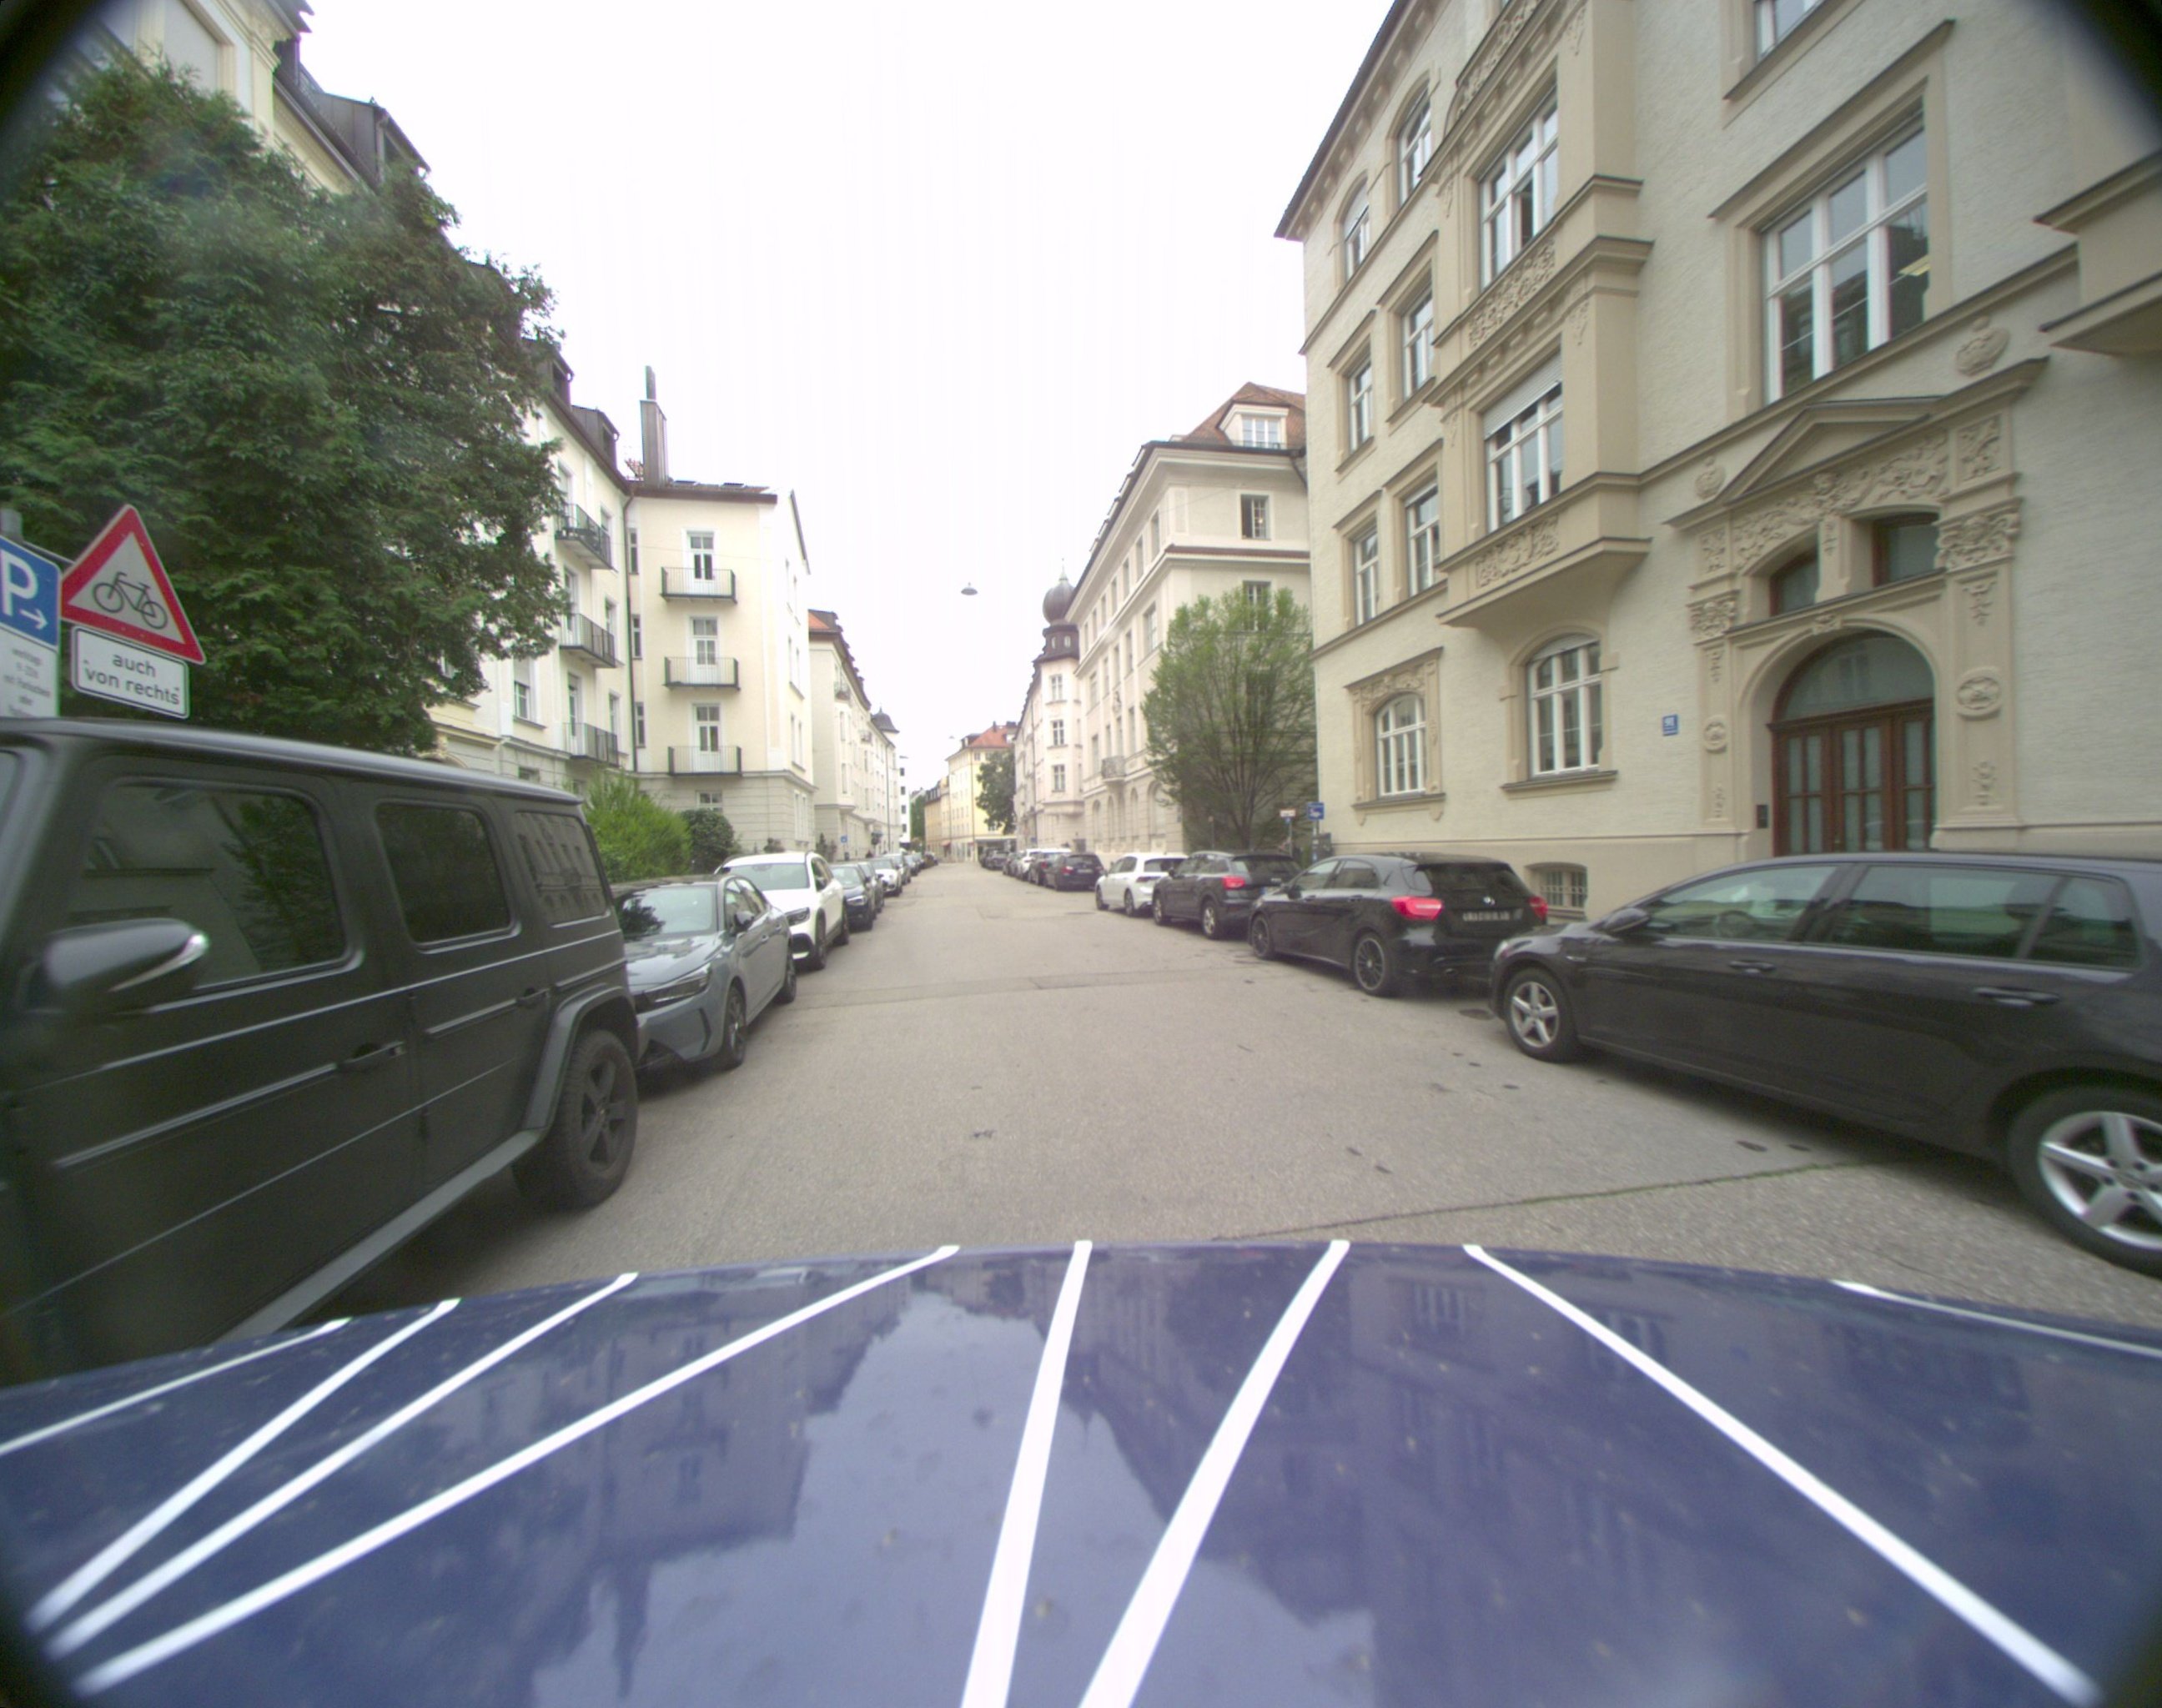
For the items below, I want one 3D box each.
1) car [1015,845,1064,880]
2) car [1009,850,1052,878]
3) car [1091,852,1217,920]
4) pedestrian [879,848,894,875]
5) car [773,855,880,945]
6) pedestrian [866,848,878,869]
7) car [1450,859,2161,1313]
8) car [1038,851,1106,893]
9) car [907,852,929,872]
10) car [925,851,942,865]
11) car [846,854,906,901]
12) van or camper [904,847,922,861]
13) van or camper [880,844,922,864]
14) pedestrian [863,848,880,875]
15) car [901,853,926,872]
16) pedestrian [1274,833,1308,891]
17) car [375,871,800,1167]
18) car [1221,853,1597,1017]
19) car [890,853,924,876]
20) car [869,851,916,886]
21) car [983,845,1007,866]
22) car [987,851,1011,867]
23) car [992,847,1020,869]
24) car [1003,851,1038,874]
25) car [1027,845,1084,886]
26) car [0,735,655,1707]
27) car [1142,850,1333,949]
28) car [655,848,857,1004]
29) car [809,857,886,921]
[{"bbox_3d":[-2.191,0.422,38.792,1.921,1.609,4.567,-2,0,-10],"label":"car"},{"bbox_3d":[-2.985,0.542,43.886,1.789,1.532,4.252,0,0,-14],"label":"car"},{"bbox_3d":[1.595,0.680,18.264,1.843,1.425,4.240,0,0,-12],"label":"car"},{"bbox_3d":[-13.505,0.507,52.907,0.886,1.776,1.110,-3,1,-12],"label":"pedestrian"},{"bbox_3d":[-5.402,0.881,16.609,1.756,1.601,4.418,-4,1,-14],"label":"car"},{"bbox_3d":[-18.105,0.407,65.840,0.886,1.803,1.110,-2,1,-9],"label":"pedestrian"},{"bbox_3d":[4.126,0.765,3.916,1.843,1.427,4.240,1,0,-10],"label":"car"},{"bbox_3d":[-0.432,0.637,29.019,1.793,1.404,4.363,-2,0,-11],"label":"car"},{"bbox_3d":[-15.476,0.756,72.403,1.806,1.665,4.185,-5,1,-11],"label":"car"},{"bbox_3d":[-18.735,0.536,96.871,1.842,1.609,4.091,-4,1,-8],"label":"car"},{"bbox_3d":[-7.578,0.820,28.405,1.790,1.496,4.061,-3,1,-10],"label":"car"},{"bbox_3d":[-30.803,0.072,139.044,1.970,2.494,5.712,-2,0,-24],"label":"van or camper"},{"bbox_3d":[-26.468,-0.040,111.741,5.874,2.697,2.302,-2,-2,-17],"label":"van or camper"},{"bbox_3d":[-14.549,0.535,52.735,0.886,1.801,1.110,-2,1,-6],"label":"pedestrian"},{"bbox_3d":[-14.087,0.682,63.659,1.843,1.391,4.968,-4,1,-13],"label":"car"},{"bbox_3d":[6.063,0.230,21.962,0.675,1.617,0.630,-2,1,-13],"label":"pedestrian"},{"bbox_3d":[-3.636,1.022,6.447,1.729,1.510,3.626,-5,2,-12],"label":"car"},{"bbox_3d":[3.399,0.709,9.043,1.840,1.425,4.549,0,0,-12],"label":"car"},{"bbox_3d":[-12.224,0.721,53.681,2.000,1.449,4.708,-2,1,-9],"label":"car"},{"bbox_3d":[-9.743,0.711,39.624,1.828,1.560,4.397,-4,1,-8],"label":"car"},{"bbox_3d":[-8.034,0.125,70.870,1.843,1.883,4.758,0,0,-11],"label":"car"},{"bbox_3d":[-7.145,0.414,65.620,1.842,1.386,4.241,0,0,-9],"label":"car"},{"bbox_3d":[-5.945,0.296,59.527,1.733,1.609,4.116,0,0,-12],"label":"car"},{"bbox_3d":[-3.918,0.512,48.483,1.799,1.407,4.274,1,0,-11],"label":"car"},{"bbox_3d":[-1.184,0.466,33.430,1.843,1.609,4.240,-2,0,-11],"label":"car"},{"bbox_3d":[-2.916,0.821,1.687,1.957,1.943,4.661,-3,0,-11],"label":"car"},{"bbox_3d":[2.620,0.713,13.937,1.777,1.509,4.380,1,0,-12],"label":"car"},{"bbox_3d":[-4.660,0.871,11.616,1.728,1.759,4.408,-4,2,-10],"label":"car"},{"bbox_3d":[-6.414,0.896,21.234,1.690,1.496,4.013,-3,1,-13],"label":"car"}]
